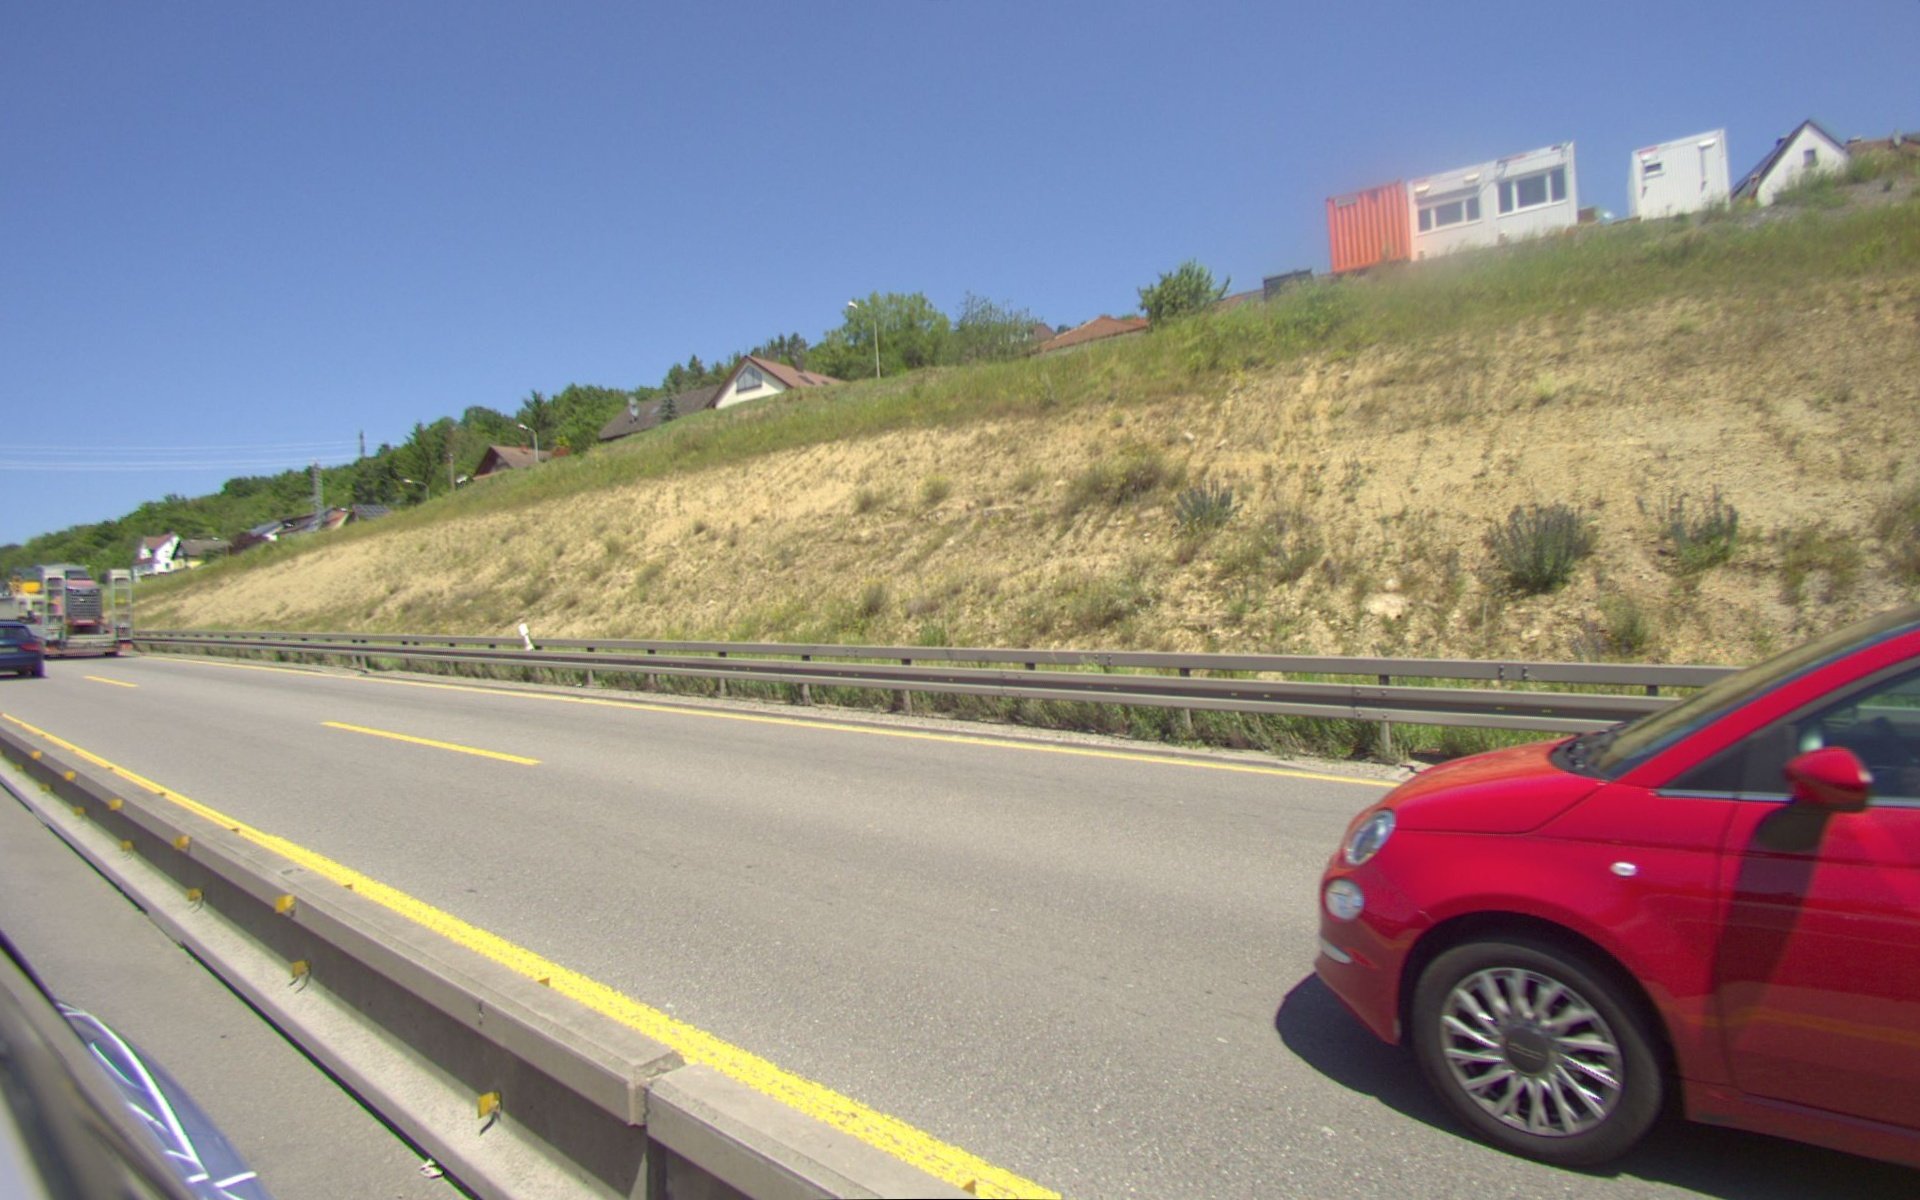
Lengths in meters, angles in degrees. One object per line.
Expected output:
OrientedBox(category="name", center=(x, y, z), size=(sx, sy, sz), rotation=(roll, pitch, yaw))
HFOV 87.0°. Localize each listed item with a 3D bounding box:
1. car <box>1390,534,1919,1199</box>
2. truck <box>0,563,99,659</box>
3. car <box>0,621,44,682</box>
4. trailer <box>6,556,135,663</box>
OrientedBox(category="car", center=(2.950, 0.598, 2.308), size=(3.293, 1.498, 1.574), rotation=(-1, -1, 41))
OrientedBox(category="truck", center=(-39.532, 0.525, 43.456), size=(9.327, 3.751, 2.560), rotation=(-1, -1, 41))
OrientedBox(category="car", center=(-24.118, 1.259, 25.043), size=(3.847, 1.441, 1.667), rotation=(-1, -1, 40))
OrientedBox(category="trailer", center=(-34.197, 0.408, 38.769), size=(9.073, 3.664, 2.560), rotation=(-1, -1, 41))
